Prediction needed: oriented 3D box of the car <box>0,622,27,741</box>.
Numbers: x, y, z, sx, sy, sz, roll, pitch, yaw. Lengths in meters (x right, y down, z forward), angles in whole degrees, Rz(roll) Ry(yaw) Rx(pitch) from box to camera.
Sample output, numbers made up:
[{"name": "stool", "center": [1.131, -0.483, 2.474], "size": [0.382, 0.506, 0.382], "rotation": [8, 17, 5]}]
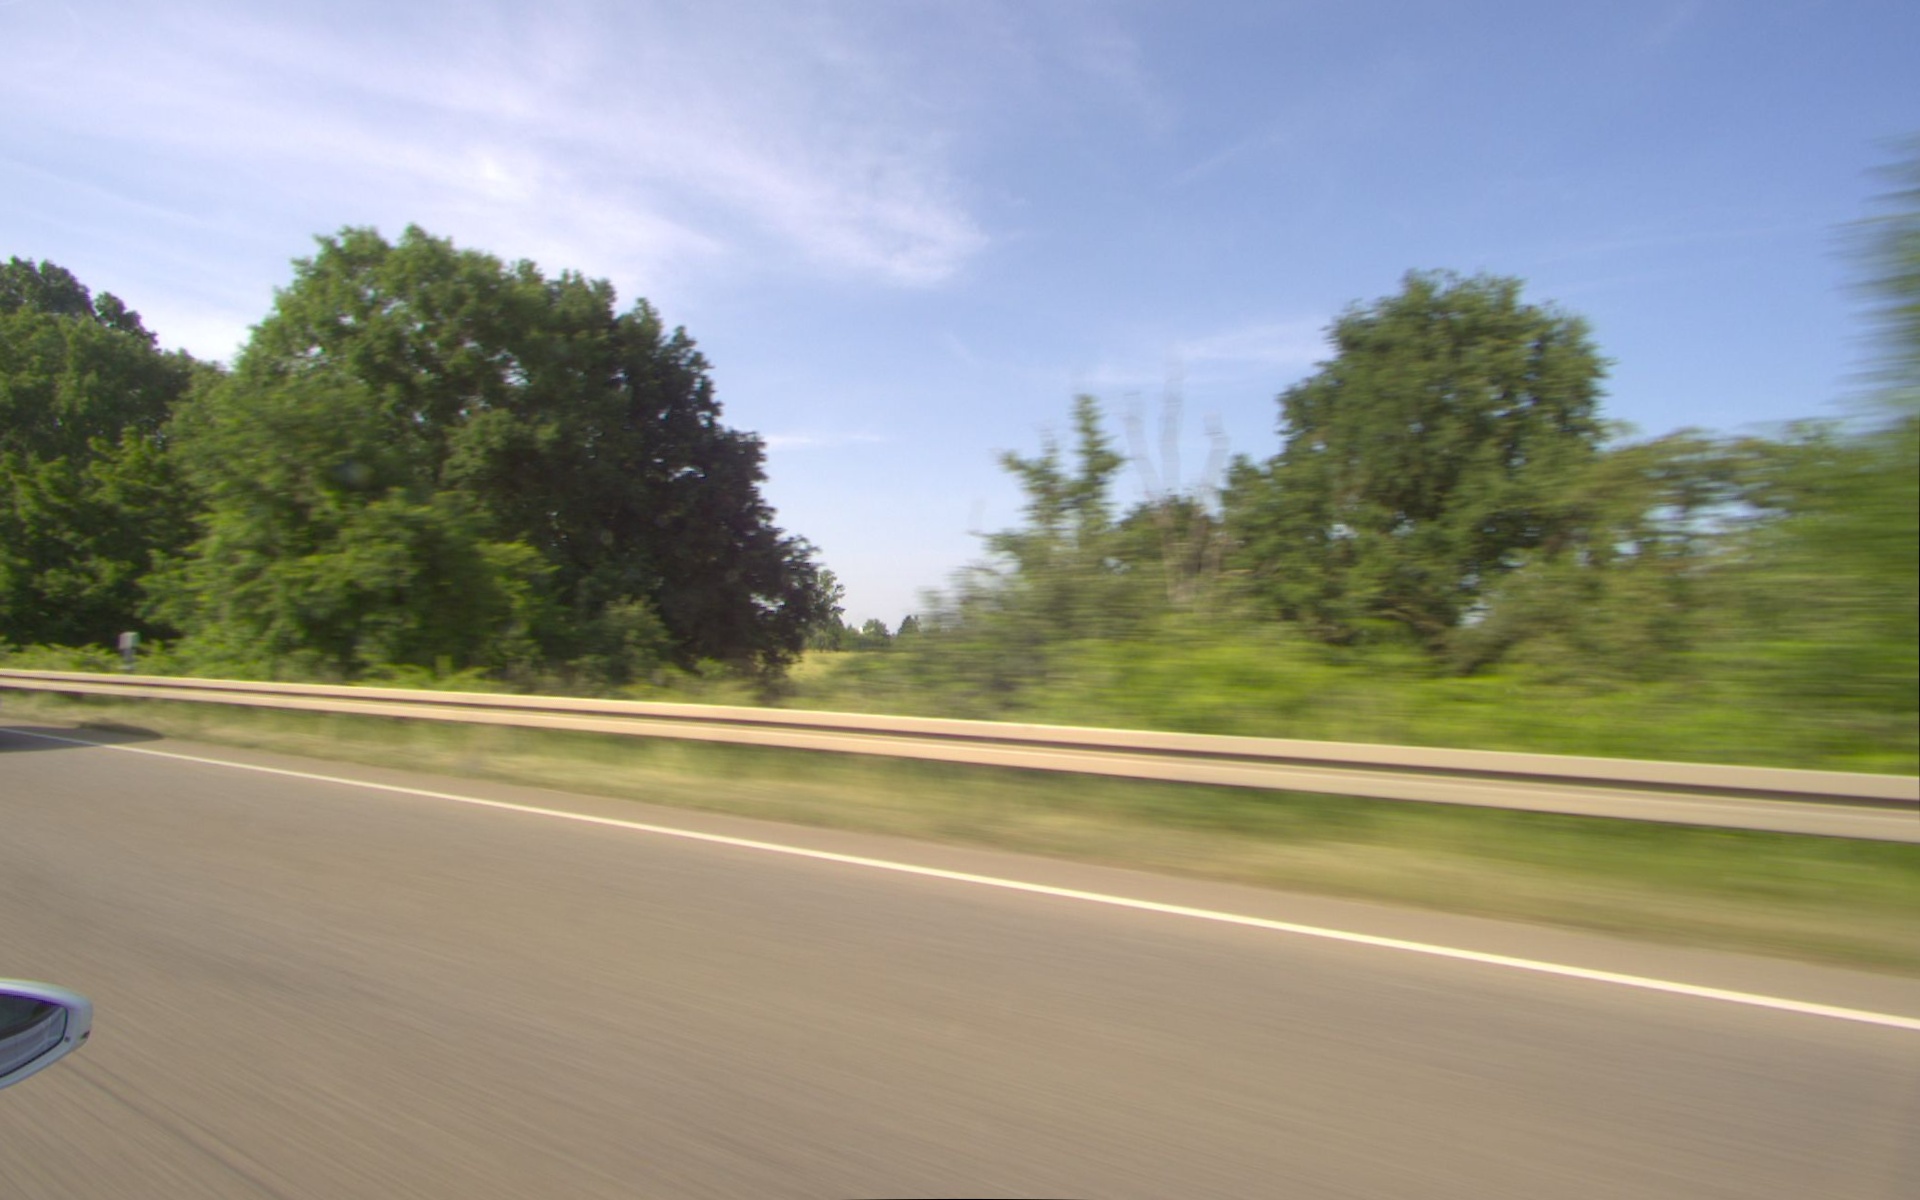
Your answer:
[{"name": "car", "center": [-13.868, 1.008, 12.849], "size": [3.941, 1.470, 1.776], "rotation": [0, -1, 31]}]
